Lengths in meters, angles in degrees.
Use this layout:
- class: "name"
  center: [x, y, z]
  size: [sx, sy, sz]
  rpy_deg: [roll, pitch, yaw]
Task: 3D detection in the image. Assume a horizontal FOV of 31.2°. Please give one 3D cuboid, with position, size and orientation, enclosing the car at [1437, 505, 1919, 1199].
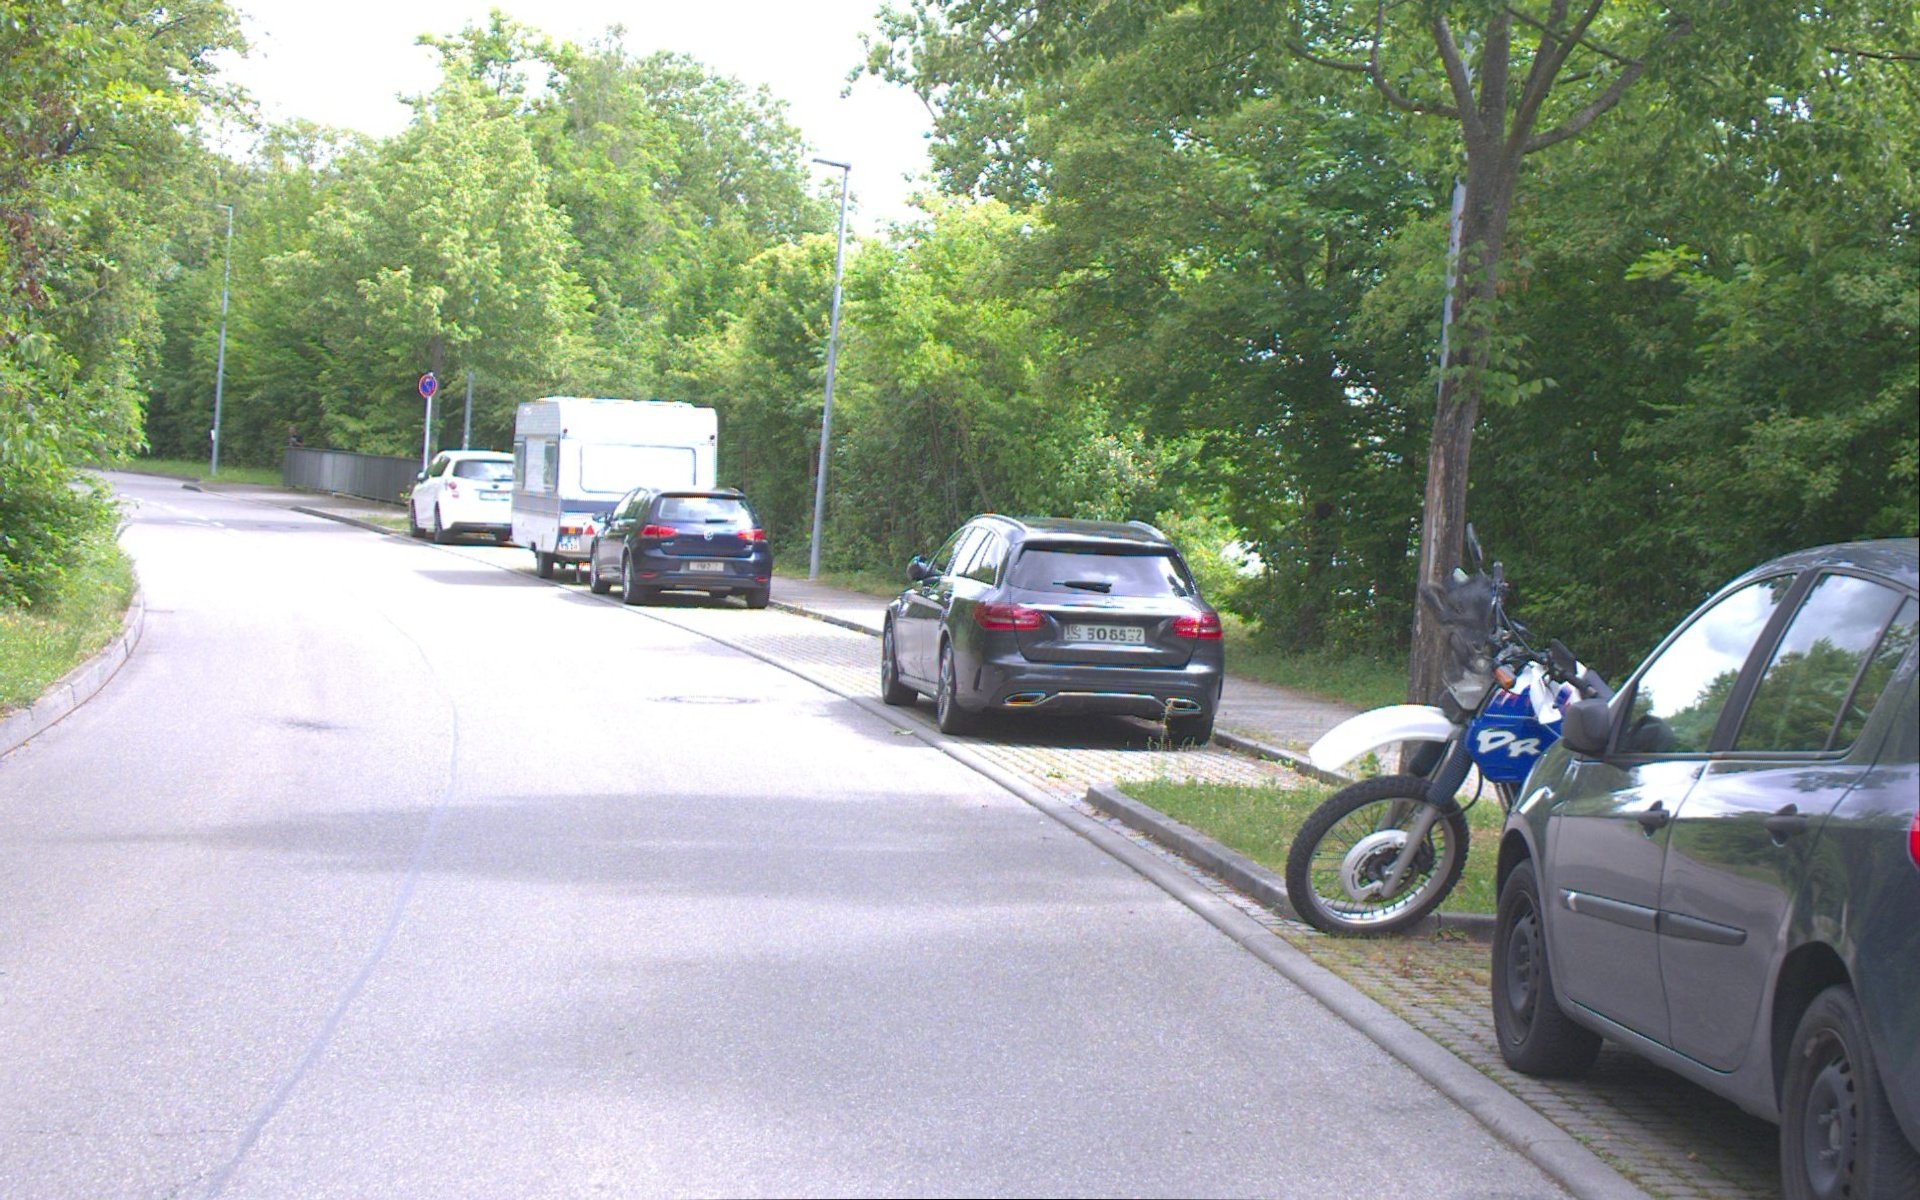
- class: "car"
  center: [2.417, 0.599, 8.115]
  size: [1.769, 1.512, 4.108]
  rpy_deg: [3, 1, -3]

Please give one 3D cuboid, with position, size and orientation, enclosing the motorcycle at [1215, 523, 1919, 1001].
- class: "motorcycle"
  center: [2.138, 0.501, 11.784]
  size: [2.308, 1.470, 0.974]
  rpy_deg: [2, 1, 21]

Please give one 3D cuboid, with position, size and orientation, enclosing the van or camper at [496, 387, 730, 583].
- class: "van or camper"
  center: [-4.960, -1.659, 48.471]
  size: [2.354, 2.545, 5.077]
  rpy_deg: [2, 2, -16]

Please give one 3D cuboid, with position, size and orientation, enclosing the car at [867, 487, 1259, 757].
- class: "car"
  center: [0.590, 0.070, 23.806]
  size: [1.892, 1.524, 4.548]
  rpy_deg: [3, 2, -8]

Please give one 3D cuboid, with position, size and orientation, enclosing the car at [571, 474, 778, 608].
- class: "car"
  center: [-3.623, -0.780, 42.972]
  size: [1.681, 1.446, 4.482]
  rpy_deg: [3, 2, -16]

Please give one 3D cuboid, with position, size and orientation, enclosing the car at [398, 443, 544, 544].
- class: "car"
  center: [-8.681, -1.908, 60.747]
  size: [1.804, 1.594, 4.374]
  rpy_deg: [2, 3, -18]
